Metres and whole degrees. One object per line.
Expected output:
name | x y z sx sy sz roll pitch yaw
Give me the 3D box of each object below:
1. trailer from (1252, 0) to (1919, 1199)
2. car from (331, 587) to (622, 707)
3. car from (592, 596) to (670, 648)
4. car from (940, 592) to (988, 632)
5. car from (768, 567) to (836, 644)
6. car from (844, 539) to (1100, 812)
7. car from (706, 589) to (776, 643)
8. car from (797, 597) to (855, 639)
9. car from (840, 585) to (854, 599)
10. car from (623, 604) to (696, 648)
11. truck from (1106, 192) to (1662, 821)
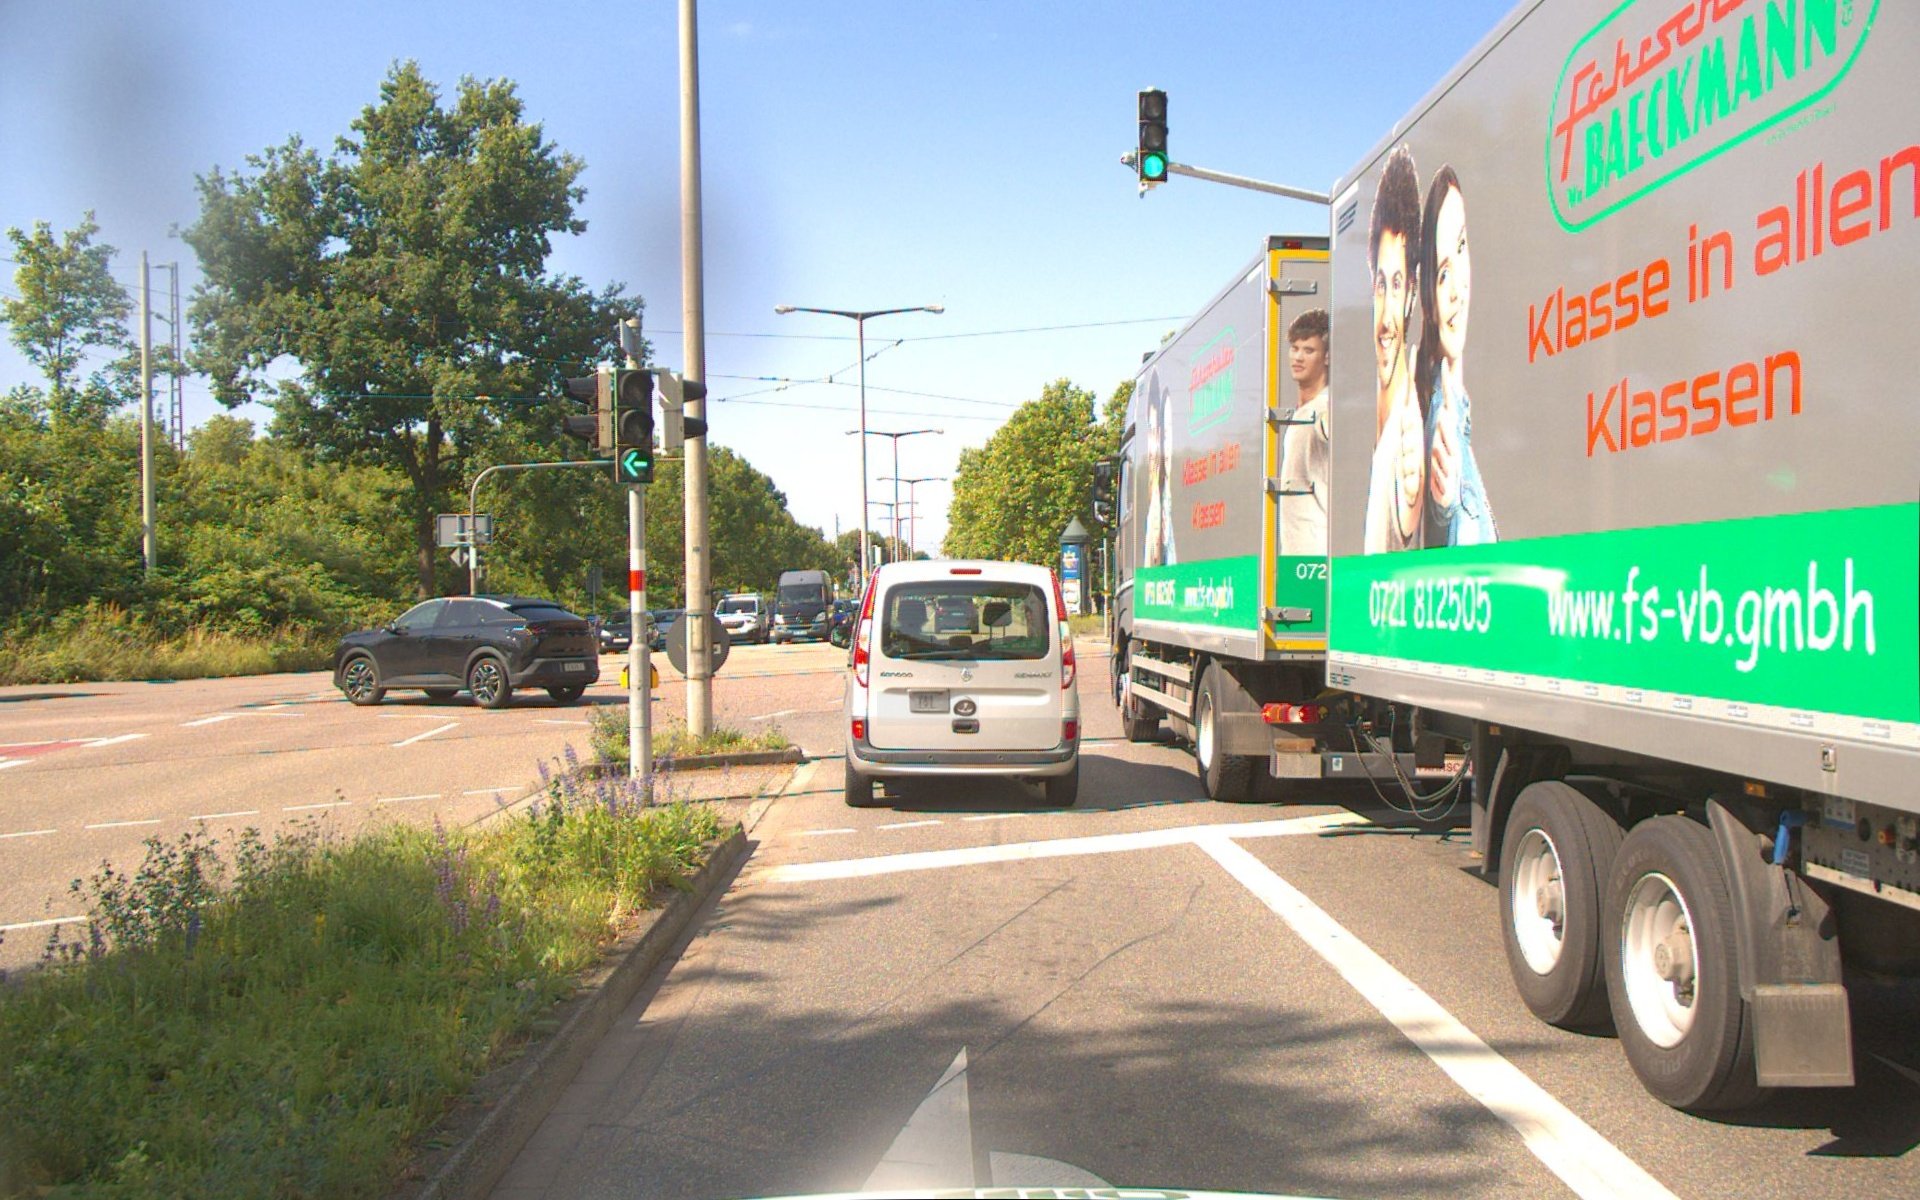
trailer | 3.264 -0.459 6.586 2.681 3.945 7.734 -1 0 -1
car | -7.464 0.701 25.490 4.134 1.691 1.934 -1 1 29
car | -11.188 0.752 56.531 1.872 1.670 3.737 -2 0 0
car | 0.175 0.505 70.779 1.952 1.613 4.456 1 0 0
car | -5.729 0.202 60.545 1.953 2.653 5.133 -2 0 0
car | -0.008 0.539 13.445 1.750 1.870 3.998 1 0 -3
car | -8.294 0.610 62.953 1.953 1.903 4.773 -2 0 0
car | -5.492 0.719 68.174 1.953 1.612 4.000 -2 0 0
car | -16.716 -1.164 245.035 1.849 2.049 3.999 1 0 0
car | -11.472 0.980 63.370 1.953 1.567 4.236 -2 0 0
truck | 3.070 -0.571 14.836 2.673 3.958 8.721 -1 0 0
